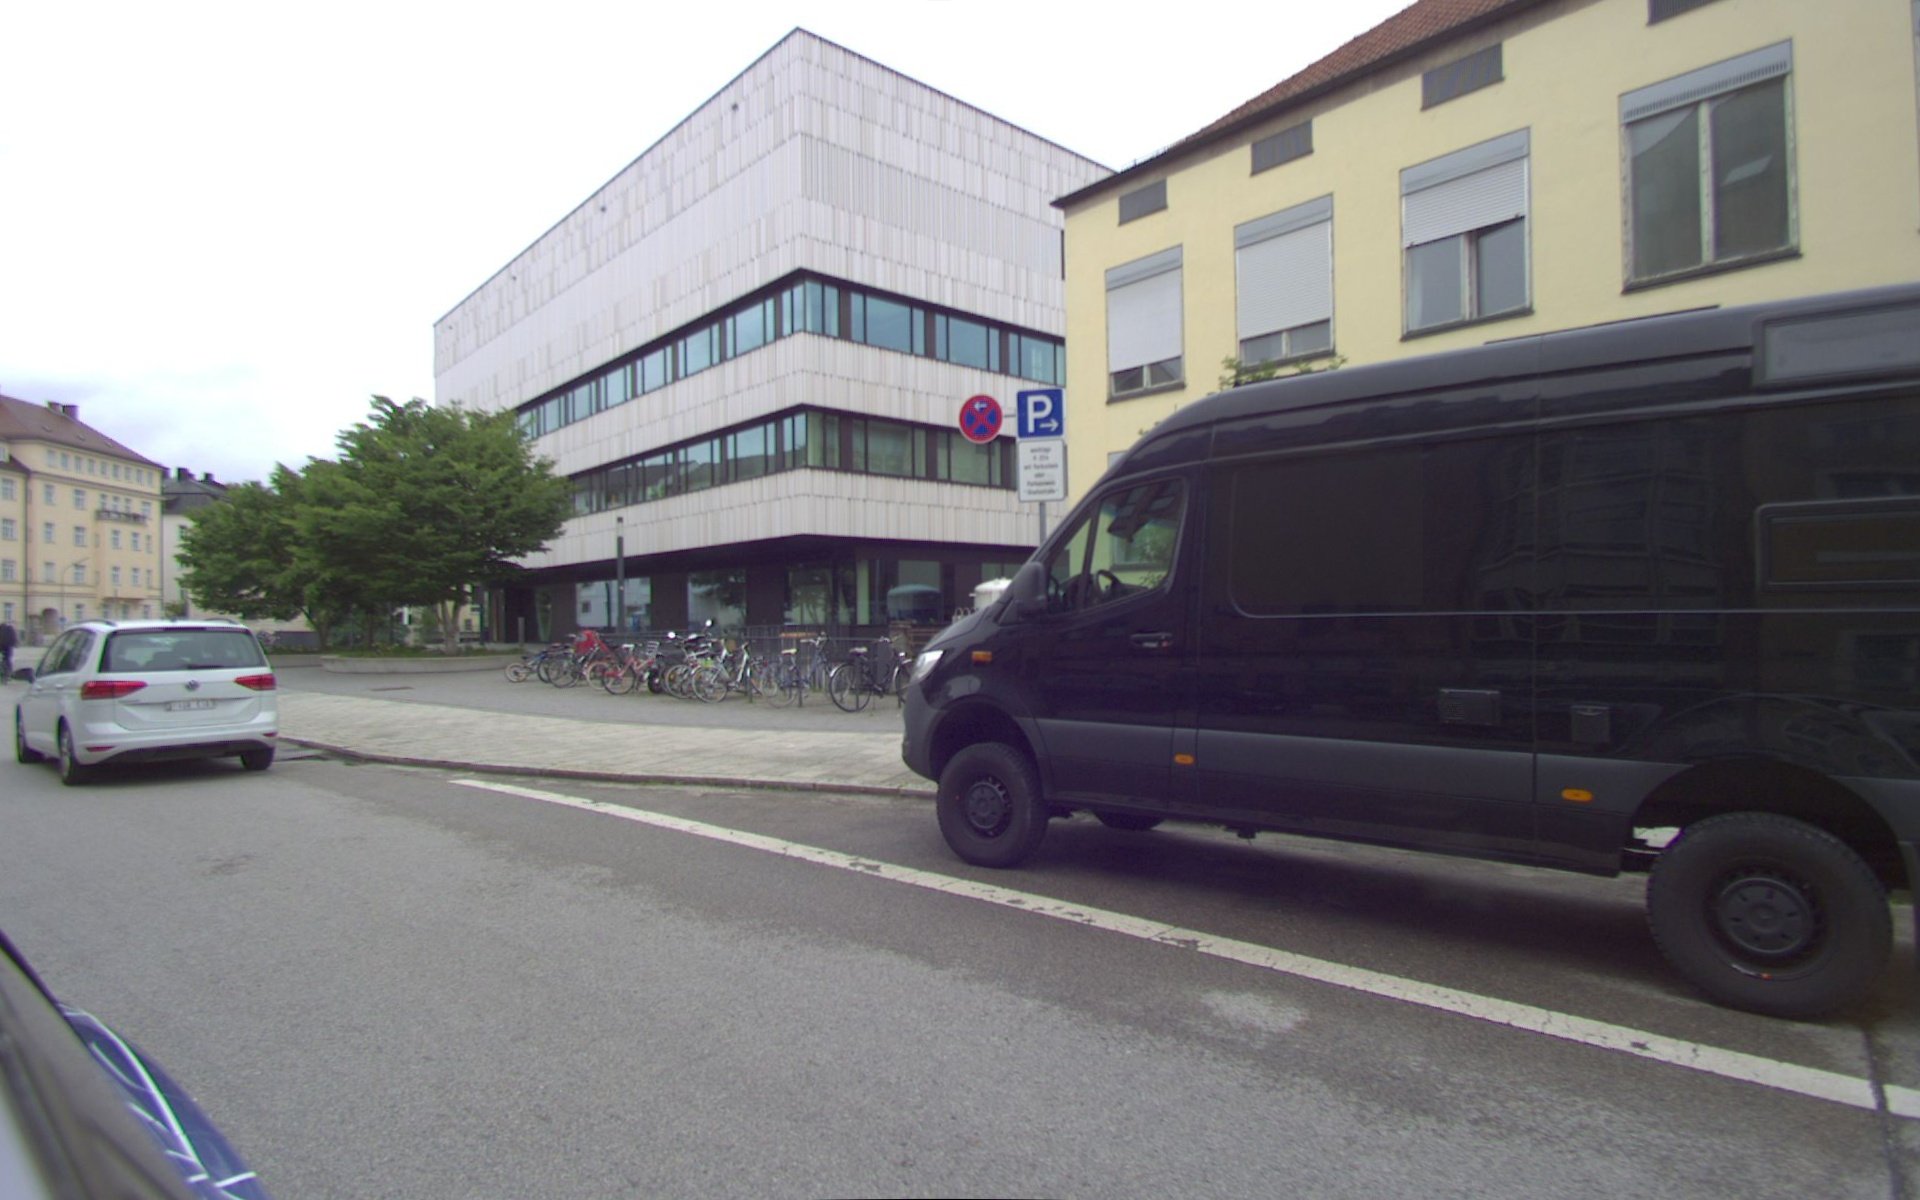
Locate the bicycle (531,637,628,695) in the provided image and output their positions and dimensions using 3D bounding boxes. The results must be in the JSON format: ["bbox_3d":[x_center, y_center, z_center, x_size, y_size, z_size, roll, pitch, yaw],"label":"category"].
[{"bbox_3d":[-8.465,1.438,22.573,0.745,1.203,1.889,-2,-2,42],"label":"bicycle"}]

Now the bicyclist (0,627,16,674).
[{"bbox_3d":[-28.730,1.509,30.276,0.832,1.360,0.610,-2,-2,40],"label":"bicyclist"}]

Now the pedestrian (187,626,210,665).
[{"bbox_3d":[-35.158,2.097,46.726,0.516,1.800,0.777,-2,-2,40],"label":"pedestrian"}]

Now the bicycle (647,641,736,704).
[{"bbox_3d":[-5.149,1.374,19.484,0.501,1.112,1.634,-2,-2,43],"label":"bicycle"}]

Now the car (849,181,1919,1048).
[{"bbox_3d":[2.373,0.131,5.453,6.191,2.876,2.190,-2,-4,40],"label":"car"}]

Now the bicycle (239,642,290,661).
[{"bbox_3d":[-37.165,2.744,54.125,0.796,0.999,2.123,-2,-2,30],"label":"bicycle"}]

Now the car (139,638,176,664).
[{"bbox_3d":[-66.068,4.173,83.363,1.862,2.029,4.012,0,-1,-30],"label":"car"}]

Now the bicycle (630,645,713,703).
[{"bbox_3d":[-5.667,1.434,19.921,0.442,1.019,1.566,-2,-1,42],"label":"bicycle"}]

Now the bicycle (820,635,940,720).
[{"bbox_3d":[-1.179,1.131,15.163,1.787,1.160,0.520,0,-1,-37],"label":"bicycle"}]

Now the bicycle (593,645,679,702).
[{"bbox_3d":[-6.424,1.434,20.111,1.562,1.024,0.443,-1,-1,-39],"label":"bicycle"}]

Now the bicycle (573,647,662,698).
[{"bbox_3d":[-7.233,1.514,21.428,0.473,0.970,1.795,-2,-2,41],"label":"bicycle"}]

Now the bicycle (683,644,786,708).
[{"bbox_3d":[-3.979,1.318,17.949,0.519,1.031,1.790,-2,-2,45],"label":"bicycle"}]

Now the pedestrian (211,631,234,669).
[{"bbox_3d":[-35.632,2.398,48.891,0.516,1.800,0.777,-2,-2,40],"label":"pedestrian"}]

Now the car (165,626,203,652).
[{"bbox_3d":[-72.221,3.582,94.199,1.861,2.374,4.013,0,-1,-23],"label":"car"}]

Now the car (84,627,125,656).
[{"bbox_3d":[-61.438,2.960,72.756,1.863,2.029,4.010,0,-1,-34],"label":"car"}]

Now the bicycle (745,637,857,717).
[{"bbox_3d":[-2.508,1.196,16.110,1.790,1.160,0.519,0,-2,-45],"label":"bicycle"}]

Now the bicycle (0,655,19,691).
[{"bbox_3d":[-28.917,2.188,30.435,1.462,1.056,0.698,-3,-5,41],"label":"bicycle"}]

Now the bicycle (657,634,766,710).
[{"bbox_3d":[-4.452,1.267,18.252,0.497,1.225,1.918,-2,-1,45],"label":"bicycle"}]

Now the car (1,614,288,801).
[{"bbox_3d":[-9.136,1.038,11.218,4.147,1.686,1.774,-2,-2,41],"label":"car"}]

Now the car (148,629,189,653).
[{"bbox_3d":[-69.631,3.597,89.124,1.861,2.029,4.013,0,-1,-23],"label":"car"}]

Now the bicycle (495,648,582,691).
[{"bbox_3d":[-10.302,1.682,24.782,0.739,0.934,1.826,-2,-2,42],"label":"bicycle"}]

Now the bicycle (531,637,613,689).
[{"bbox_3d":[-9.297,1.487,24.295,1.790,1.160,0.519,0,-2,-45],"label":"bicycle"}]
